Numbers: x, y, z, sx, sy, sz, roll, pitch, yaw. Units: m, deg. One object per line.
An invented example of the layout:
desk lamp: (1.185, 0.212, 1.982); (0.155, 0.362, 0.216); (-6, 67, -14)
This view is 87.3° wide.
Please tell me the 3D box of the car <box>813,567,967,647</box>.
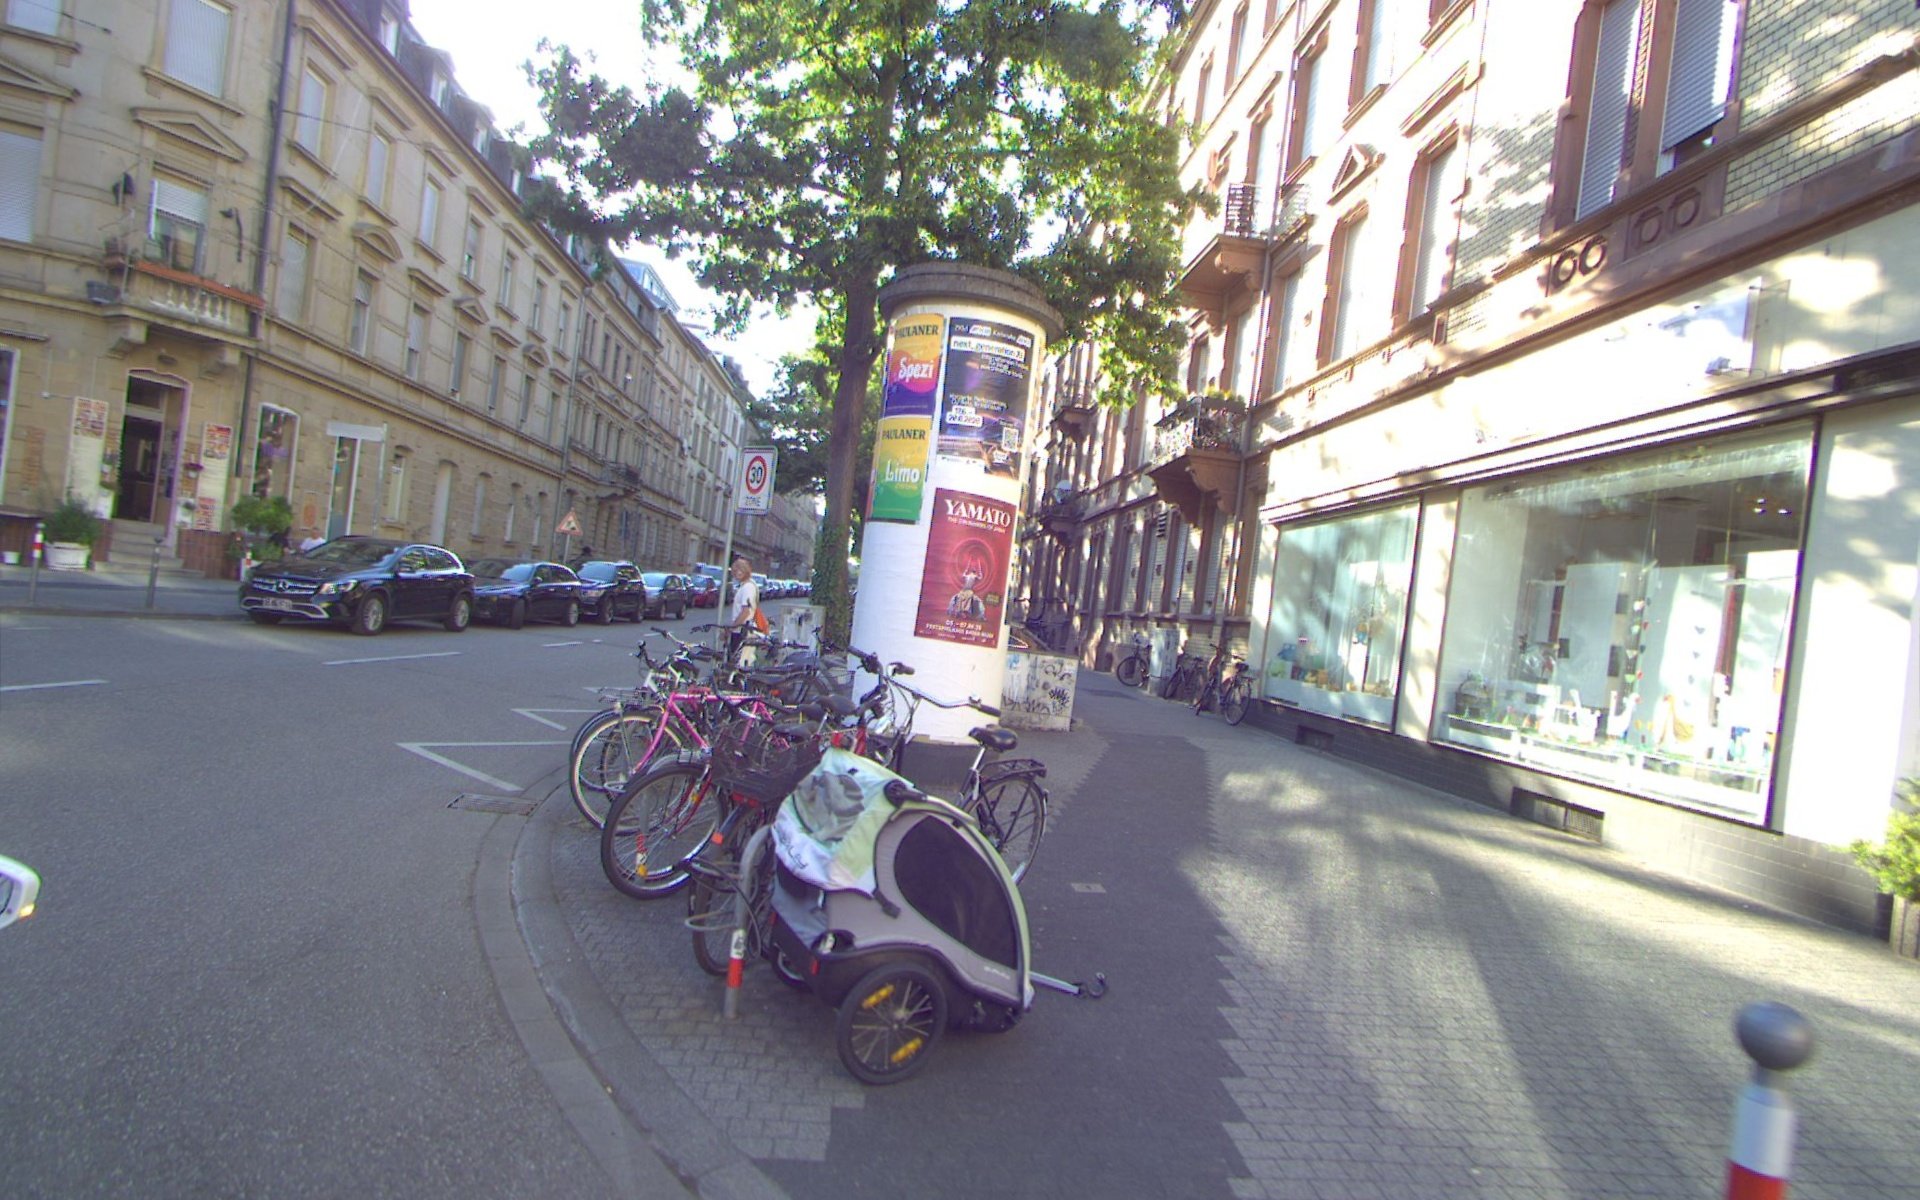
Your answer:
car: (-2.247, 0.228, 31.919); (4.608, 2.059, 1.876); (5, 0, -8)

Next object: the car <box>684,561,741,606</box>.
car: (-12.907, -0.845, 52.809); (1.806, 1.966, 5.255); (9, 0, -5)

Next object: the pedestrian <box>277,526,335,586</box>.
pedestrian: (-14.650, -0.975, 22.540); (0.715, 1.229, 0.756); (7, 0, -7)

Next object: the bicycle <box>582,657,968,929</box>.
bicycle: (-0.827, 0.880, 5.031); (1.923, 1.107, 0.420); (5, 0, -44)

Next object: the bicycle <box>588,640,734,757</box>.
bicycle: (-2.627, 0.845, 8.973); (0.348, 0.939, 1.411); (4, 0, 25)

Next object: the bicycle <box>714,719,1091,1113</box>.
bicycle: (-0.220, 1.015, 3.467); (0.987, 1.039, 0.733); (7, 0, -26)

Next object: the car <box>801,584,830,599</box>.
car: (-20.029, -1.207, 139.788); (1.965, 1.503, 3.997); (6, -2, 27)

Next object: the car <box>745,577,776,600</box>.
car: (-14.857, -0.866, 75.082); (1.733, 1.491, 4.054); (7, 0, -6)

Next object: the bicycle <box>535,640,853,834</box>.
bicycle: (-1.654, 0.849, 6.523); (1.922, 1.065, 0.497); (5, 0, -42)

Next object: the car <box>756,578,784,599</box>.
car: (-15.317, -0.922, 81.160); (1.733, 1.491, 4.054); (7, 0, -6)

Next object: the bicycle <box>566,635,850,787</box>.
bicycle: (-1.827, 0.828, 7.411); (1.912, 1.000, 0.493); (5, 0, -27)

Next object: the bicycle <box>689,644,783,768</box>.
bicycle: (-1.931, 0.884, 8.841); (0.348, 0.939, 1.525); (4, 0, 3)

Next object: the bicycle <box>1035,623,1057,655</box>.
bicycle: (2.917, 1.308, 34.356); (0.398, 0.975, 1.866); (4, 0, -4)

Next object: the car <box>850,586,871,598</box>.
car: (-20.626, -1.727, 208.571); (3.925, 1.882, 1.751); (8, 1, 3)

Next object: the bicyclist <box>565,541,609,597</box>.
bicyclist: (-13.121, -1.092, 35.423); (0.981, 1.813, 1.205); (7, 2, -4)

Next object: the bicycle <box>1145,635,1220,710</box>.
bicycle: (4.114, 1.310, 18.804); (0.660, 1.186, 2.591); (5, 0, -2)

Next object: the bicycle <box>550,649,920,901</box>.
bicycle: (-1.101, 0.857, 5.343); (1.923, 1.107, 0.420); (5, 0, -44)

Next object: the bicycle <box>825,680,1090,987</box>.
bicycle: (0.058, 0.970, 4.697); (0.564, 1.107, 1.475); (4, 0, 27)

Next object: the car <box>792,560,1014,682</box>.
car: (-1.397, 0.500, 24.522); (4.949, 2.242, 1.991); (7, 0, -6)

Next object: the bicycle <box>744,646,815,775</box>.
bicycle: (-1.531, 0.903, 8.682); (0.348, 0.939, 1.524); (4, 0, -3)

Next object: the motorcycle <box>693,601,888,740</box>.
motorcycle: (-1.735, 0.720, 10.529); (1.869, 1.250, 0.685); (5, 1, -4)

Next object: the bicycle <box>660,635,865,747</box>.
bicycle: (-1.920, 0.894, 9.926); (1.901, 0.939, 0.354); (4, 0, -6)

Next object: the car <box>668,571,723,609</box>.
car: (-12.342, -0.471, 47.213); (1.569, 1.493, 3.697); (9, 0, -3)

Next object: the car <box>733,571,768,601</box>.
car: (-14.557, -0.981, 70.033); (1.733, 1.865, 4.524); (6, 0, -6)

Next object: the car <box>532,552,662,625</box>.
car: (-9.577, -0.276, 26.942); (1.731, 1.620, 4.549); (6, 0, 0)

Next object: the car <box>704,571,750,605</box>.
car: (-13.544, -0.704, 58.704); (1.728, 1.628, 4.380); (9, 0, -4)

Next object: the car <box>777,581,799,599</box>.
car: (-16.575, -0.997, 96.982); (1.733, 1.491, 4.054); (7, 0, -6)

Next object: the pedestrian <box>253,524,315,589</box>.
pedestrian: (-14.375, -0.918, 21.408); (0.715, 1.274, 0.756); (7, 1, -7)

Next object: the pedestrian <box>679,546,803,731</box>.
pedestrian: (-2.483, 0.427, 11.522); (1.098, 1.922, 0.841); (7, 1, -7)

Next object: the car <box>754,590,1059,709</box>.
car: (-0.865, 0.794, 16.812); (4.713, 1.430, 1.850); (6, 0, -3)

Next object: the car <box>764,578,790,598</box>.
car: (-15.650, -0.999, 86.016); (1.733, 1.491, 4.054); (7, 0, -6)

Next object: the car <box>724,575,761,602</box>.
car: (-14.108, -0.746, 65.296); (1.734, 1.485, 3.995); (9, 0, -6)

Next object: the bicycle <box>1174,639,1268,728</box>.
bicycle: (4.138, 1.290, 16.179); (0.660, 1.186, 2.591); (5, 0, -2)

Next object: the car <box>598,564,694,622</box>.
car: (-9.853, -0.205, 31.911); (1.732, 1.520, 4.058); (6, 0, -1)

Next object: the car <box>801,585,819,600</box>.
car: (-19.242, -0.933, 129.500); (1.965, 1.503, 3.999); (7, -2, -6)

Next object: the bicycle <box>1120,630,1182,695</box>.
bicycle: (4.019, 1.291, 21.363); (0.660, 1.186, 2.591); (5, 0, -2)

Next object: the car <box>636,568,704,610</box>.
car: (-12.253, -0.464, 42.707); (1.732, 1.520, 4.057); (6, 0, -2)

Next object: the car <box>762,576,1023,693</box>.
car: (-1.255, 0.644, 19.271); (4.617, 1.700, 1.850); (6, 0, -3)

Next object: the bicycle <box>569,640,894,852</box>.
bicycle: (-1.326, 0.851, 6.167); (1.922, 1.107, 0.420); (5, 0, -42)

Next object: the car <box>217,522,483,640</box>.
car: (-9.713, -0.252, 16.460); (1.731, 1.506, 4.138); (6, 0, 0)

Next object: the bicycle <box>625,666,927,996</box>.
bicycle: (-0.701, 0.864, 4.296); (0.417, 1.107, 1.476); (4, 0, 25)

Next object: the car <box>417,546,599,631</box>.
car: (-9.612, -0.190, 21.855); (1.731, 1.469, 4.550); (6, 0, 1)
